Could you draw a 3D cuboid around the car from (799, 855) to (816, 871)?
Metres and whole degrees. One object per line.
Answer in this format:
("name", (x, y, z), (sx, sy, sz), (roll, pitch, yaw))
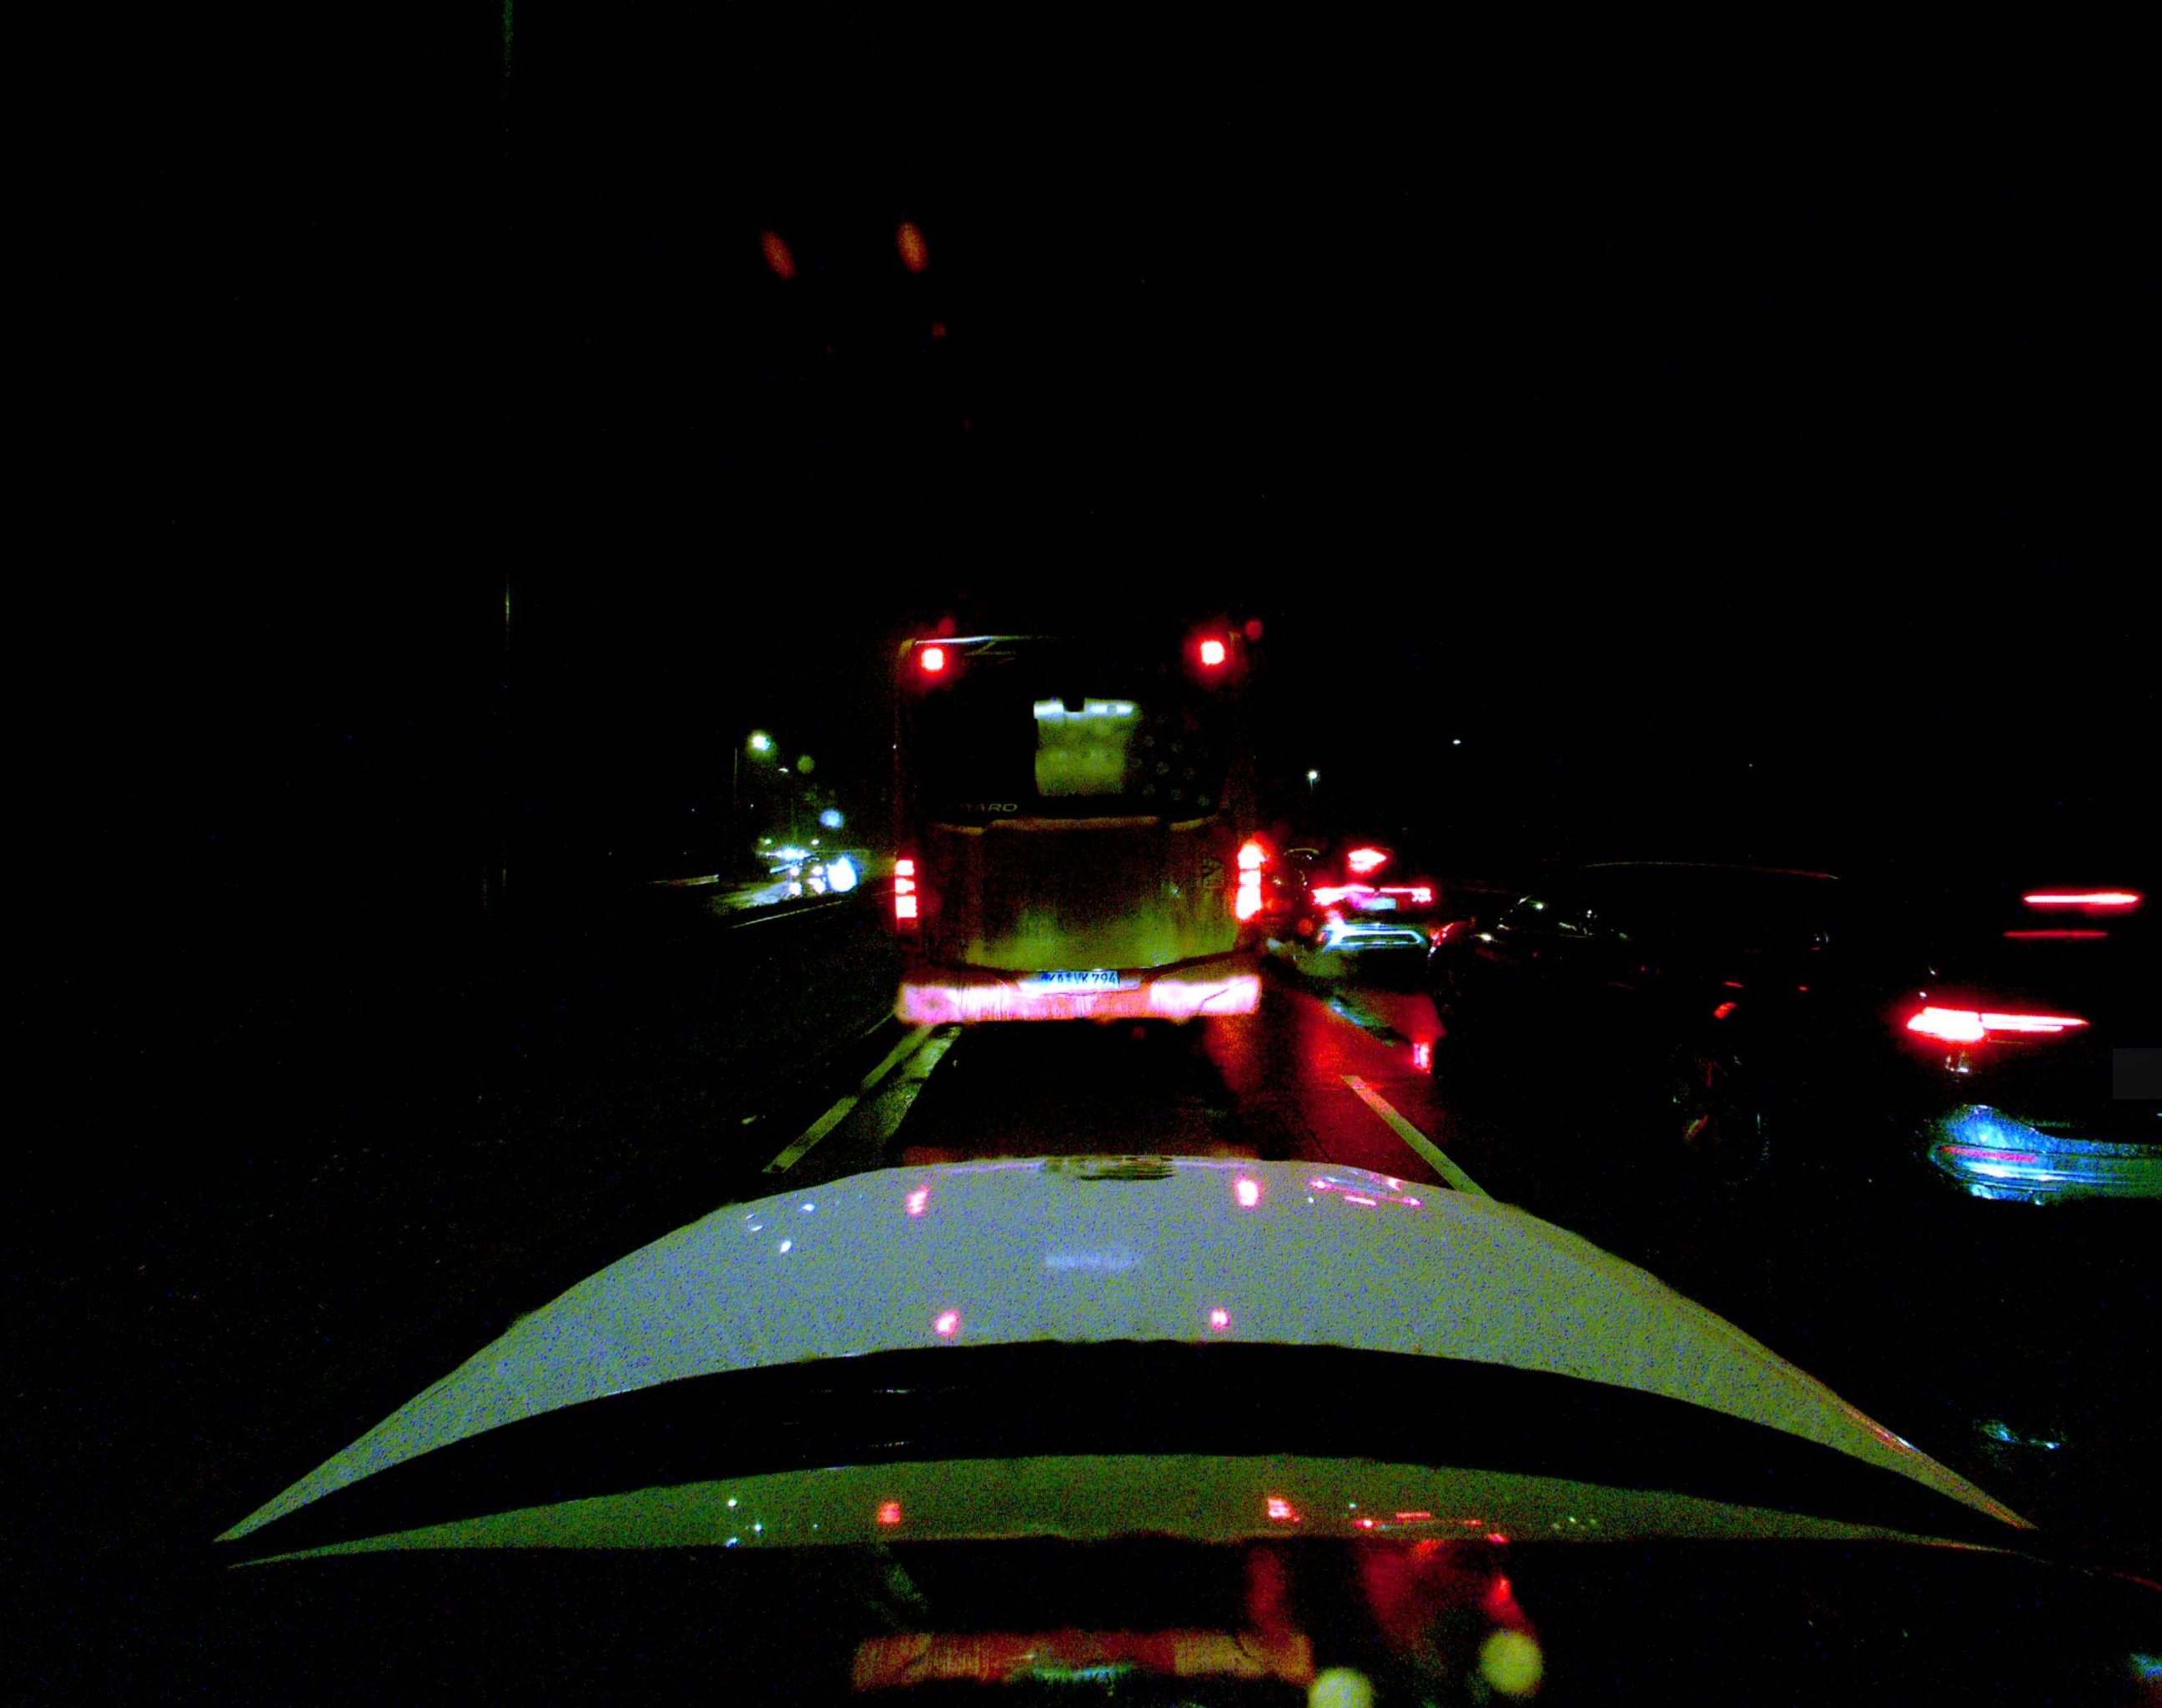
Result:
("car", (-30.803, 0.988, 91.672), (1.771, 1.631, 4.224), (-1, 0, -19))

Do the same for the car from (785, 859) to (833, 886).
("car", (-16.194, 1.069, 48.695), (1.994, 1.508, 4.821), (-1, 0, -11))

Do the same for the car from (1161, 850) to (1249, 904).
("car", (3.552, 0.631, 23.988), (1.987, 1.441, 3.999), (0, -1, 0))

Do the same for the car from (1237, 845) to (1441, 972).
("car", (3.500, 0.672, 11.843), (1.672, 1.521, 3.959), (0, -1, -1))

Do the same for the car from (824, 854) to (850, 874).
("car", (-18.960, 0.775, 63.357), (1.714, 1.423, 4.644), (-1, 0, -14))

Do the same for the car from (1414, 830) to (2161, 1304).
("car", (3.701, 0.701, 4.882), (1.666, 1.506, 4.561), (1, 0, 2))

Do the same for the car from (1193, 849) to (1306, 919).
("car", (3.592, 0.598, 18.035), (1.680, 1.330, 3.960), (-2, 0, 1))

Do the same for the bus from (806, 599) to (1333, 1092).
("bus", (-0.038, -0.161, 9.968), (3.274, 3.050, 9.544), (-2, 1, 0))

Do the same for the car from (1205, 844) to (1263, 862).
("car", (12.805, -0.102, 68.453), (4.477, 1.519, 1.853), (0, 2, -6))
